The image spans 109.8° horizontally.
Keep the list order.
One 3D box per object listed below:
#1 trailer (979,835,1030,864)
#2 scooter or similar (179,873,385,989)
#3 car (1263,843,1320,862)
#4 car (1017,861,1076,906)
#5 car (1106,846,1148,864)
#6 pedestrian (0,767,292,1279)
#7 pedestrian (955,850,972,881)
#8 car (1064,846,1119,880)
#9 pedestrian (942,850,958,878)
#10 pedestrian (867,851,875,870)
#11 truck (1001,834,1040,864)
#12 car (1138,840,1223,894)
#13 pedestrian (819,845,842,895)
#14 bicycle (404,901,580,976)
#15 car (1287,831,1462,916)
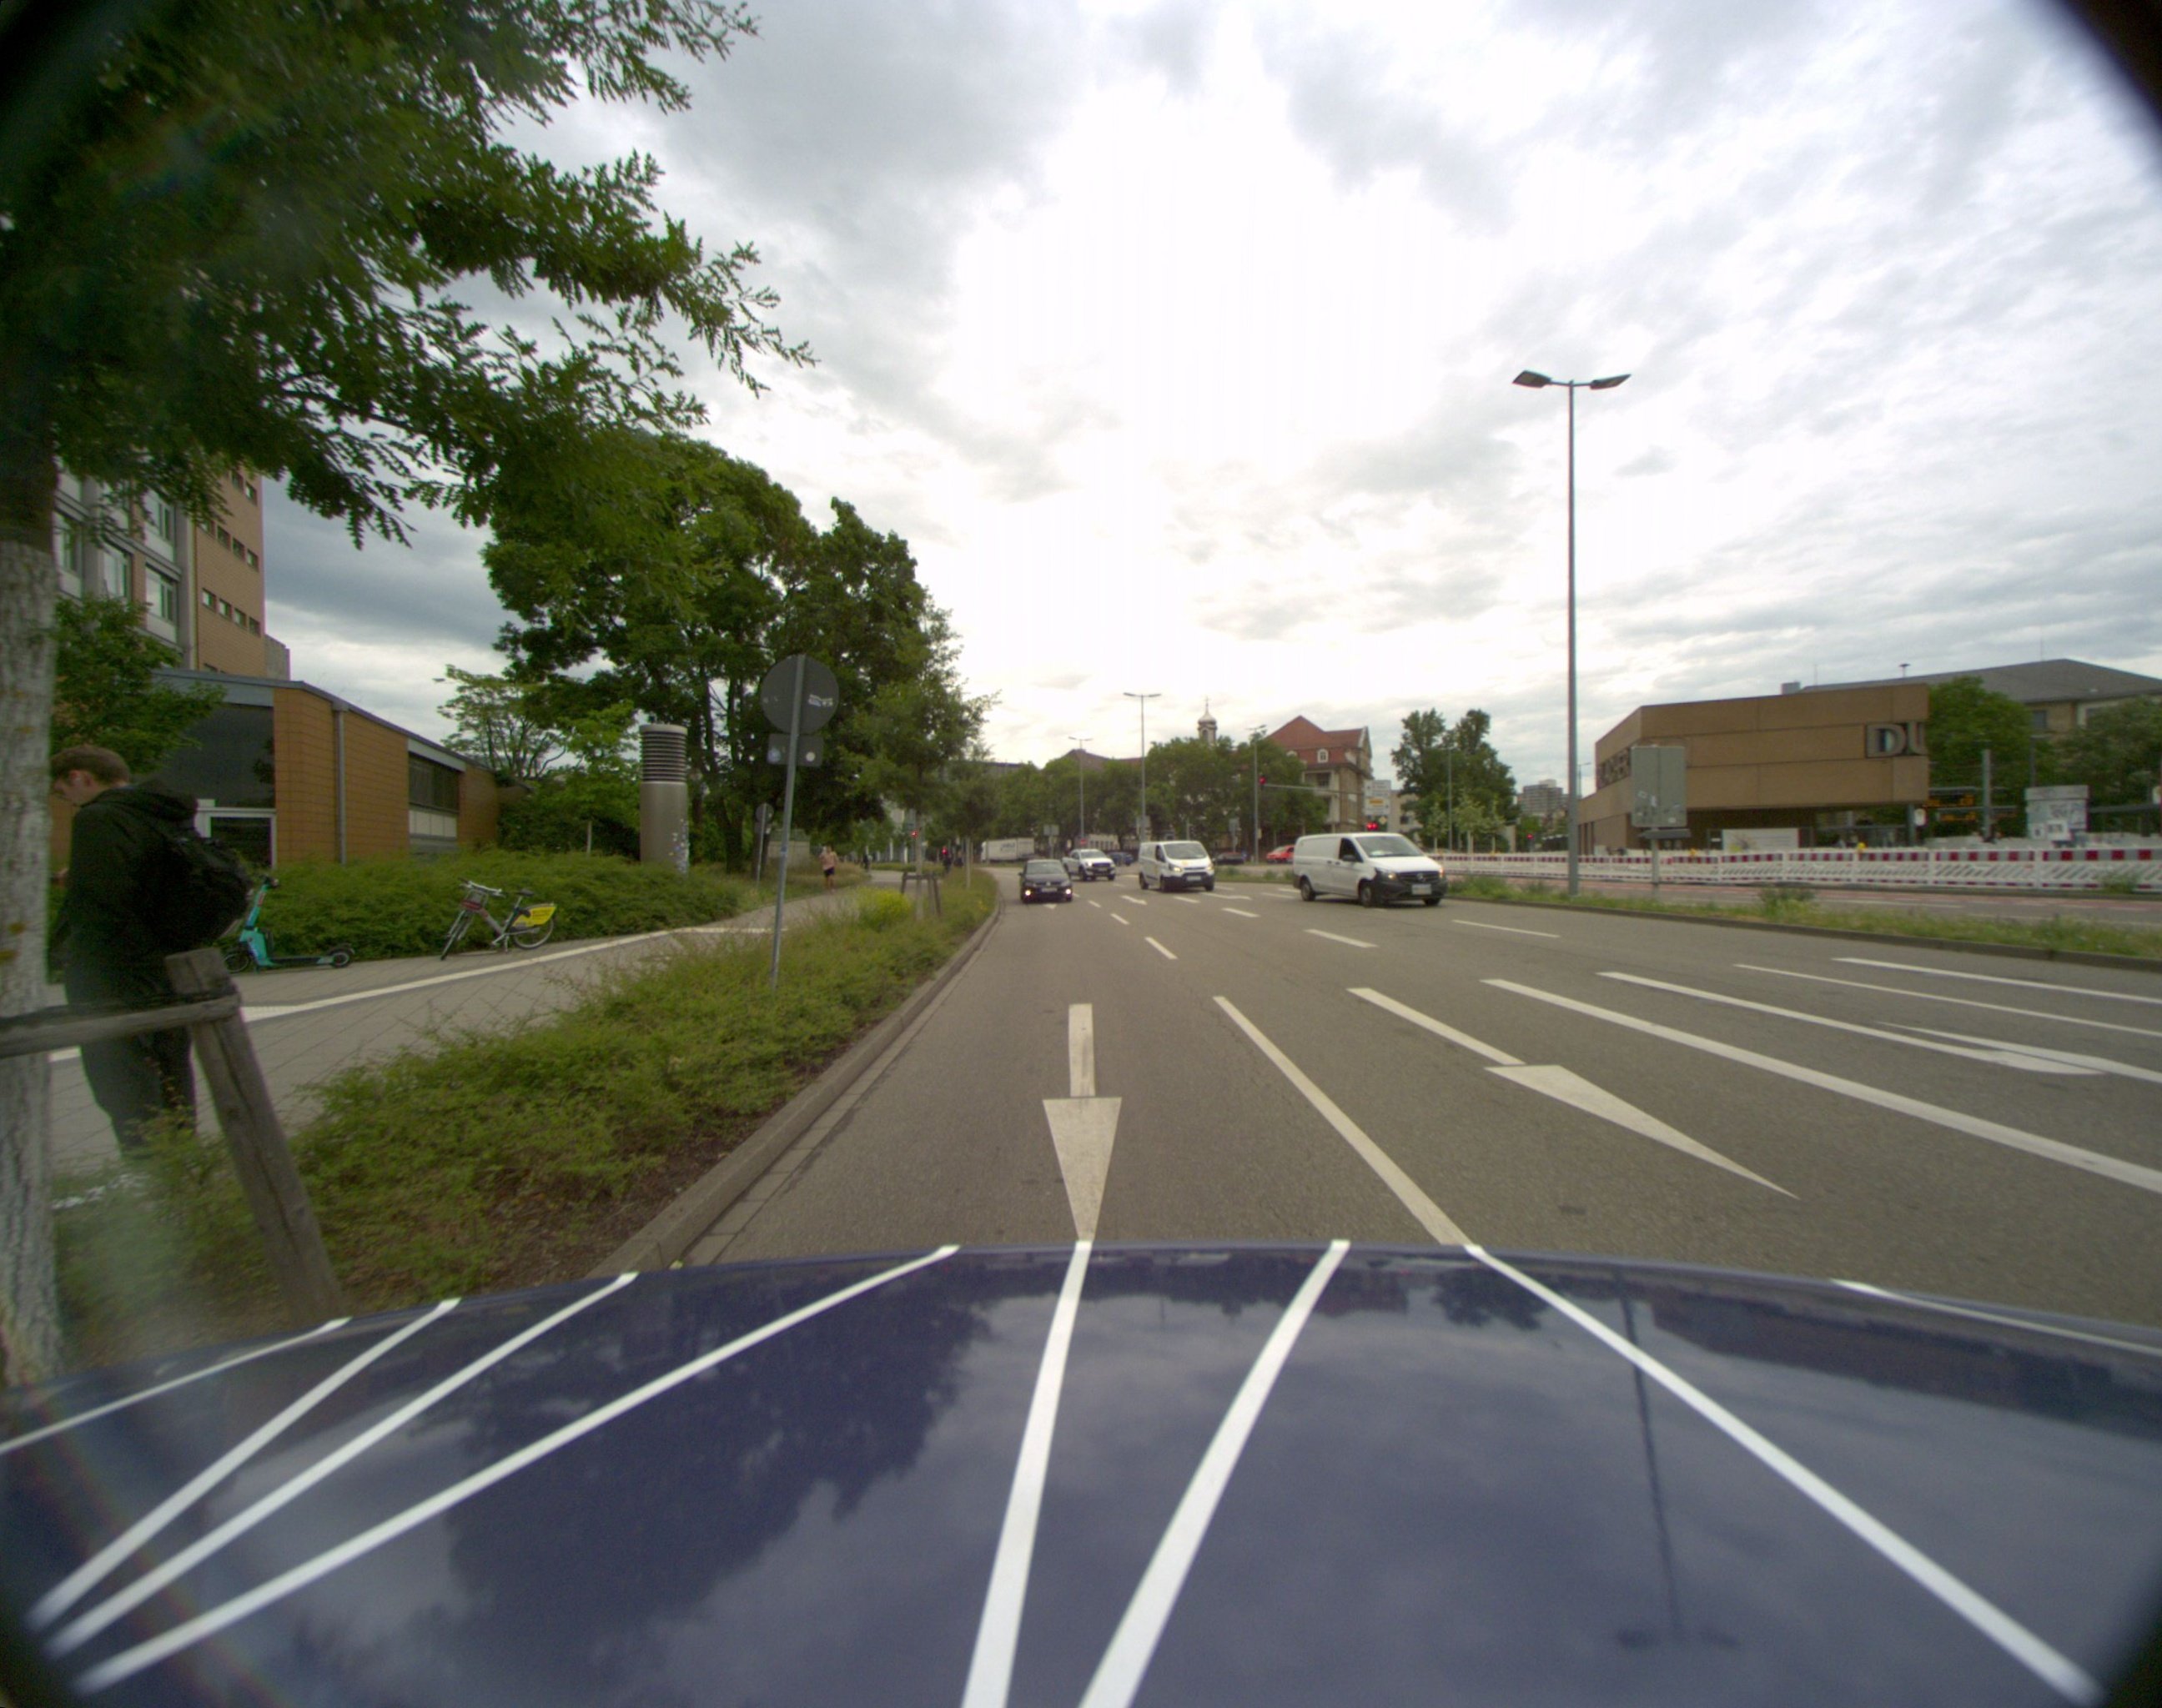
[{"bbox_3d":[-11.692,-0.581,114.015,2.951,3.990,13.782,-2,0,-26],"label":"trailer"},{"bbox_3d":[-9.942,0.912,9.547,1.607,1.282,0.693,-2,1,-32],"label":"scooter or similar"},{"bbox_3d":[20.194,-0.181,72.912,5.249,1.707,1.909,-1,0,-23],"label":"car"},{"bbox_3d":[-1.280,0.965,26.675,1.656,1.404,3.997,-1,0,-8],"label":"car"},{"bbox_3d":[4.861,0.108,80.552,3.989,1.718,2.004,-2,1,33],"label":"car"},{"bbox_3d":[-4.112,0.633,3.228,0.875,1.917,0.722,-1,1,-33],"label":"pedestrian"},{"bbox_3d":[-6.960,0.665,45.014,0.596,1.790,0.723,3,1,43],"label":"pedestrian"},{"bbox_3d":[0.519,0.499,43.972,2.091,1.838,4.746,-1,0,-13],"label":"car"},{"bbox_3d":[-8.438,0.658,48.966,0.596,1.790,0.723,3,1,43],"label":"pedestrian"},{"bbox_3d":[-19.973,0.619,72.173,0.598,1.790,0.518,2,1,-23],"label":"pedestrian"},{"bbox_3d":[-8.640,-0.687,107.731,2.917,4.001,7.146,-2,1,-26],"label":"truck"},{"bbox_3d":[3.831,0.480,30.047,2.000,1.930,4.519,-1,0,-11],"label":"car"},{"bbox_3d":[-9.183,0.582,27.850,0.631,1.790,0.597,2,0,-4],"label":"pedestrian"},{"bbox_3d":[-8.403,1.164,10.984,0.557,0.843,2.076,-1,0,15],"label":"bicycle"},{"bbox_3d":[7.506,0.439,20.105,1.923,1.871,5.084,-2,1,-10],"label":"car"}]
